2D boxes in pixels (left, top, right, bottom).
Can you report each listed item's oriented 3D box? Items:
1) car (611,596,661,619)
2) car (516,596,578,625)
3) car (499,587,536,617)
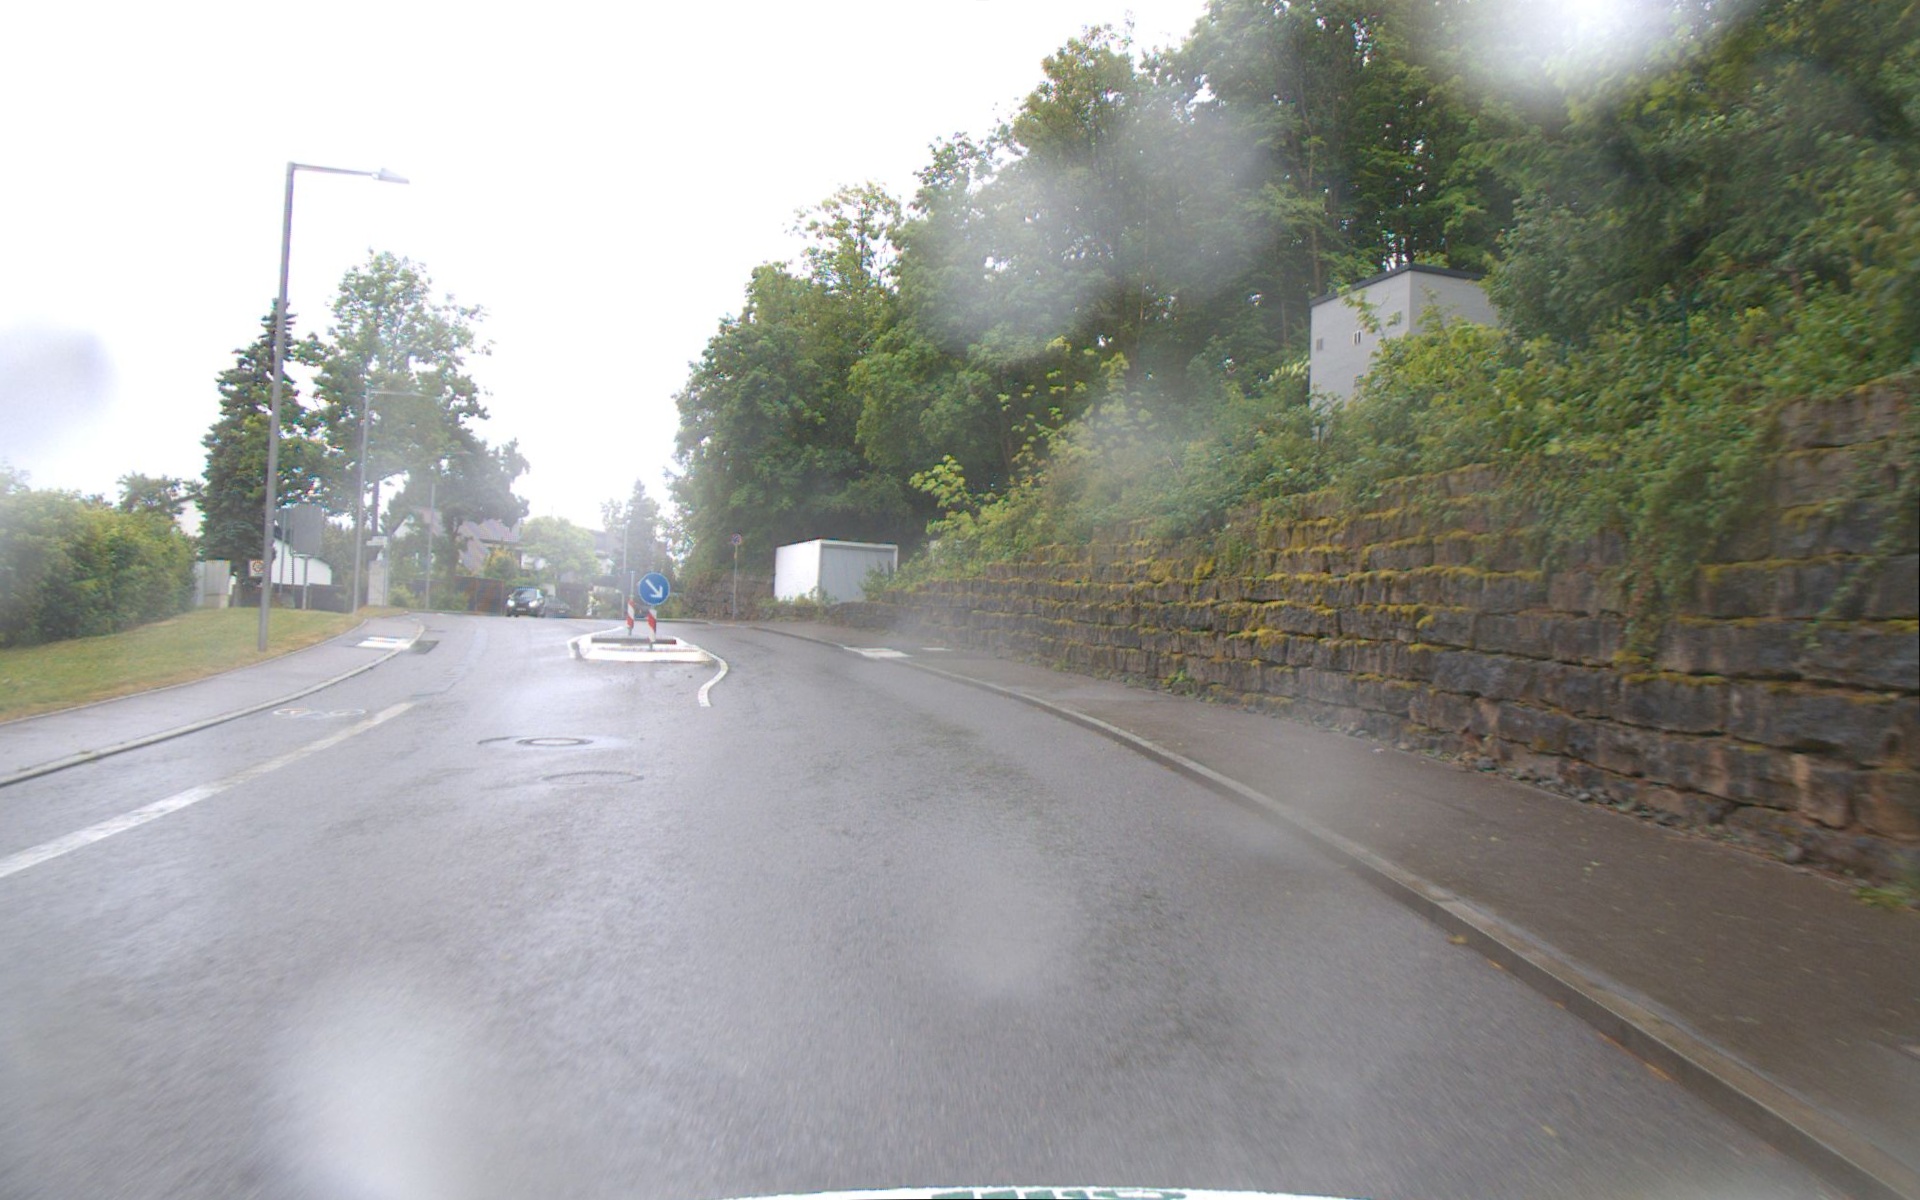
[{"bbox_3d":[-23.905,0.557,122.078,1.921,1.413,3.945,6,-3,-39],"label":"car"},{"bbox_3d":[-28.177,0.737,112.825,3.923,1.660,2.005,3,-2,38],"label":"car"},{"bbox_3d":[-23.733,0.105,88.680,1.802,1.547,4.605,1,0,-17],"label":"car"}]
